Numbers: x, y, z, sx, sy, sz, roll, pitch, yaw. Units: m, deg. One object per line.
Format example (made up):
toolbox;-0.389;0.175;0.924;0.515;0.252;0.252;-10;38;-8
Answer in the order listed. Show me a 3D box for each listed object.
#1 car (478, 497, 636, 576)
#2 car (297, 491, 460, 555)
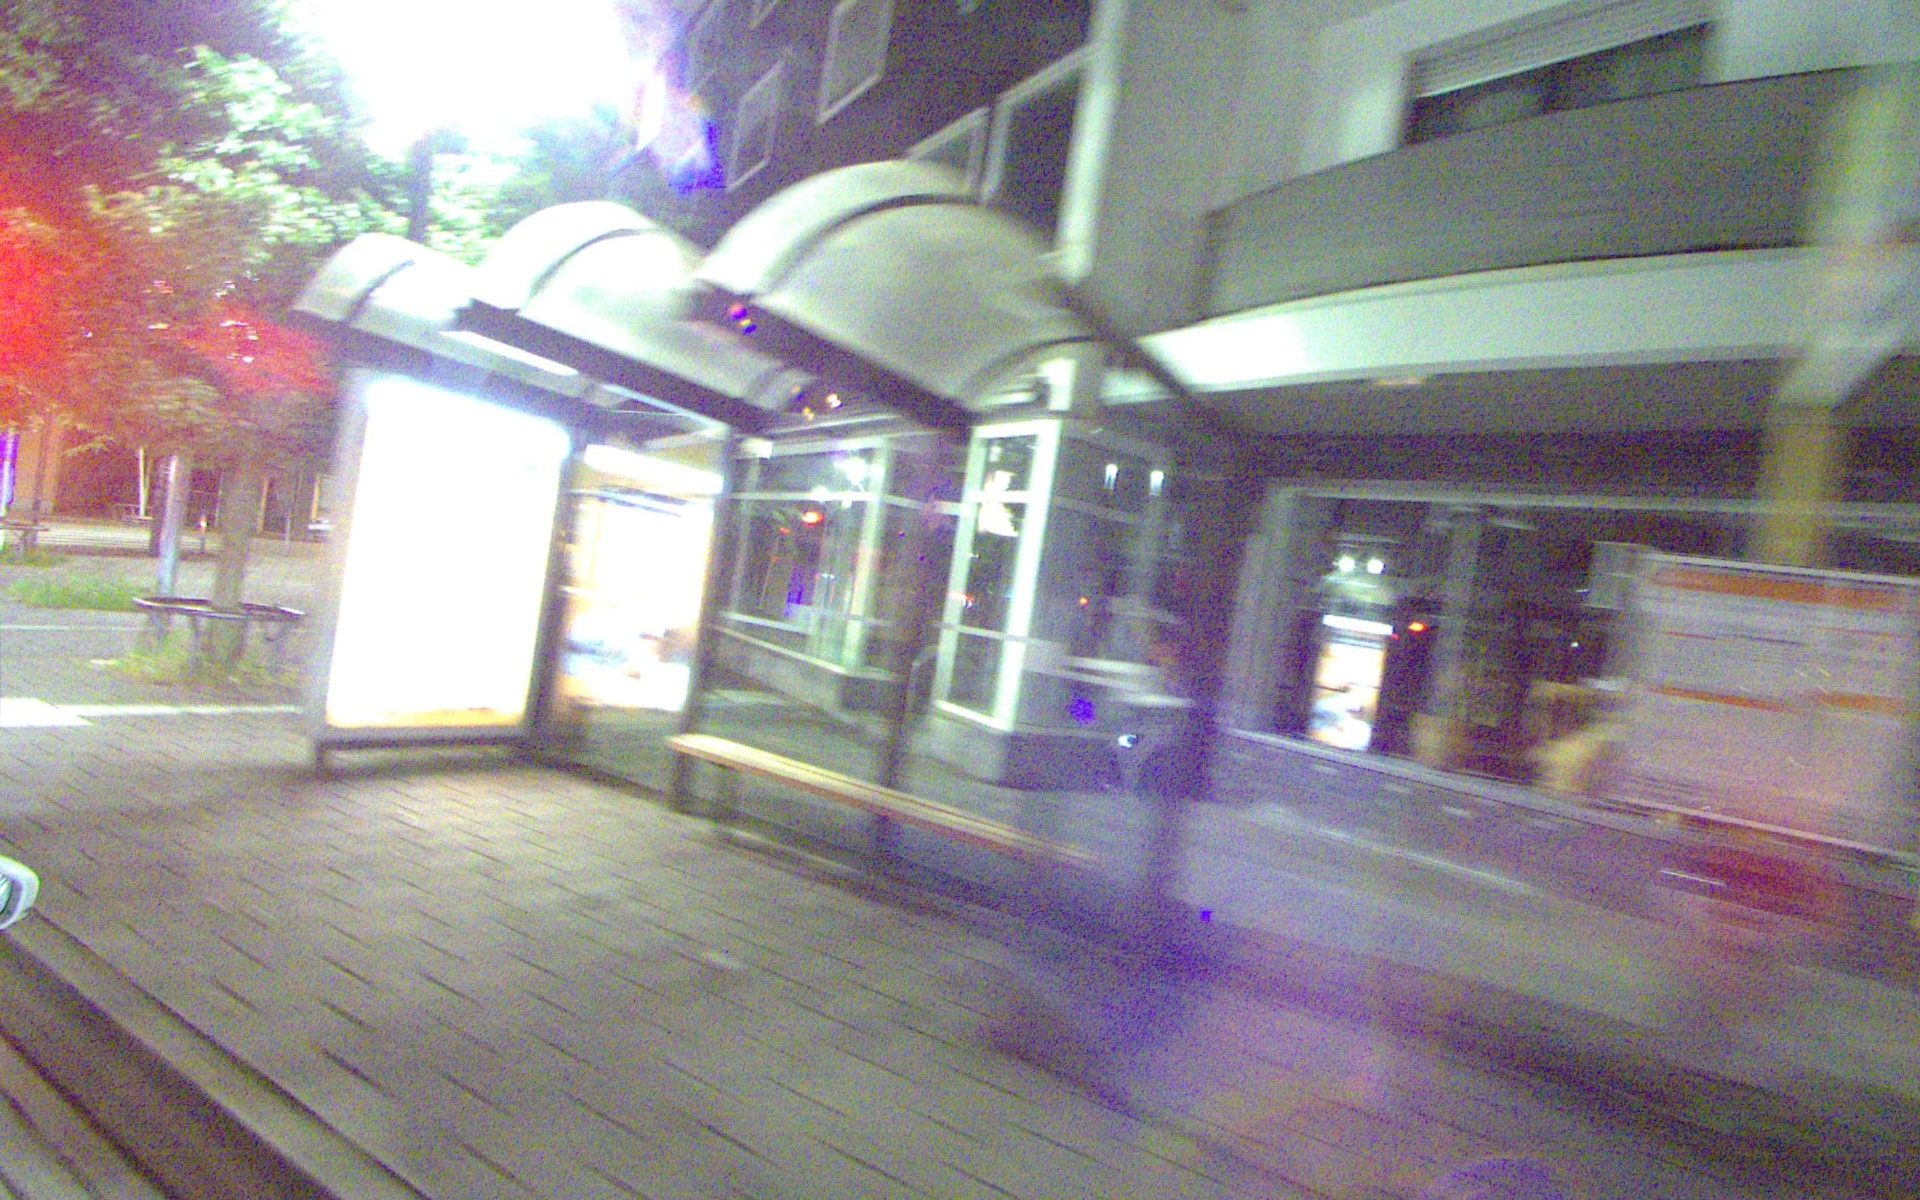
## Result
car;-13.903;-2.129;34.885;4.783;1.932;2.148;8;-2;-23
car;-18.253;-2.390;31.725;1.798;1.472;4.036;8;2;38
